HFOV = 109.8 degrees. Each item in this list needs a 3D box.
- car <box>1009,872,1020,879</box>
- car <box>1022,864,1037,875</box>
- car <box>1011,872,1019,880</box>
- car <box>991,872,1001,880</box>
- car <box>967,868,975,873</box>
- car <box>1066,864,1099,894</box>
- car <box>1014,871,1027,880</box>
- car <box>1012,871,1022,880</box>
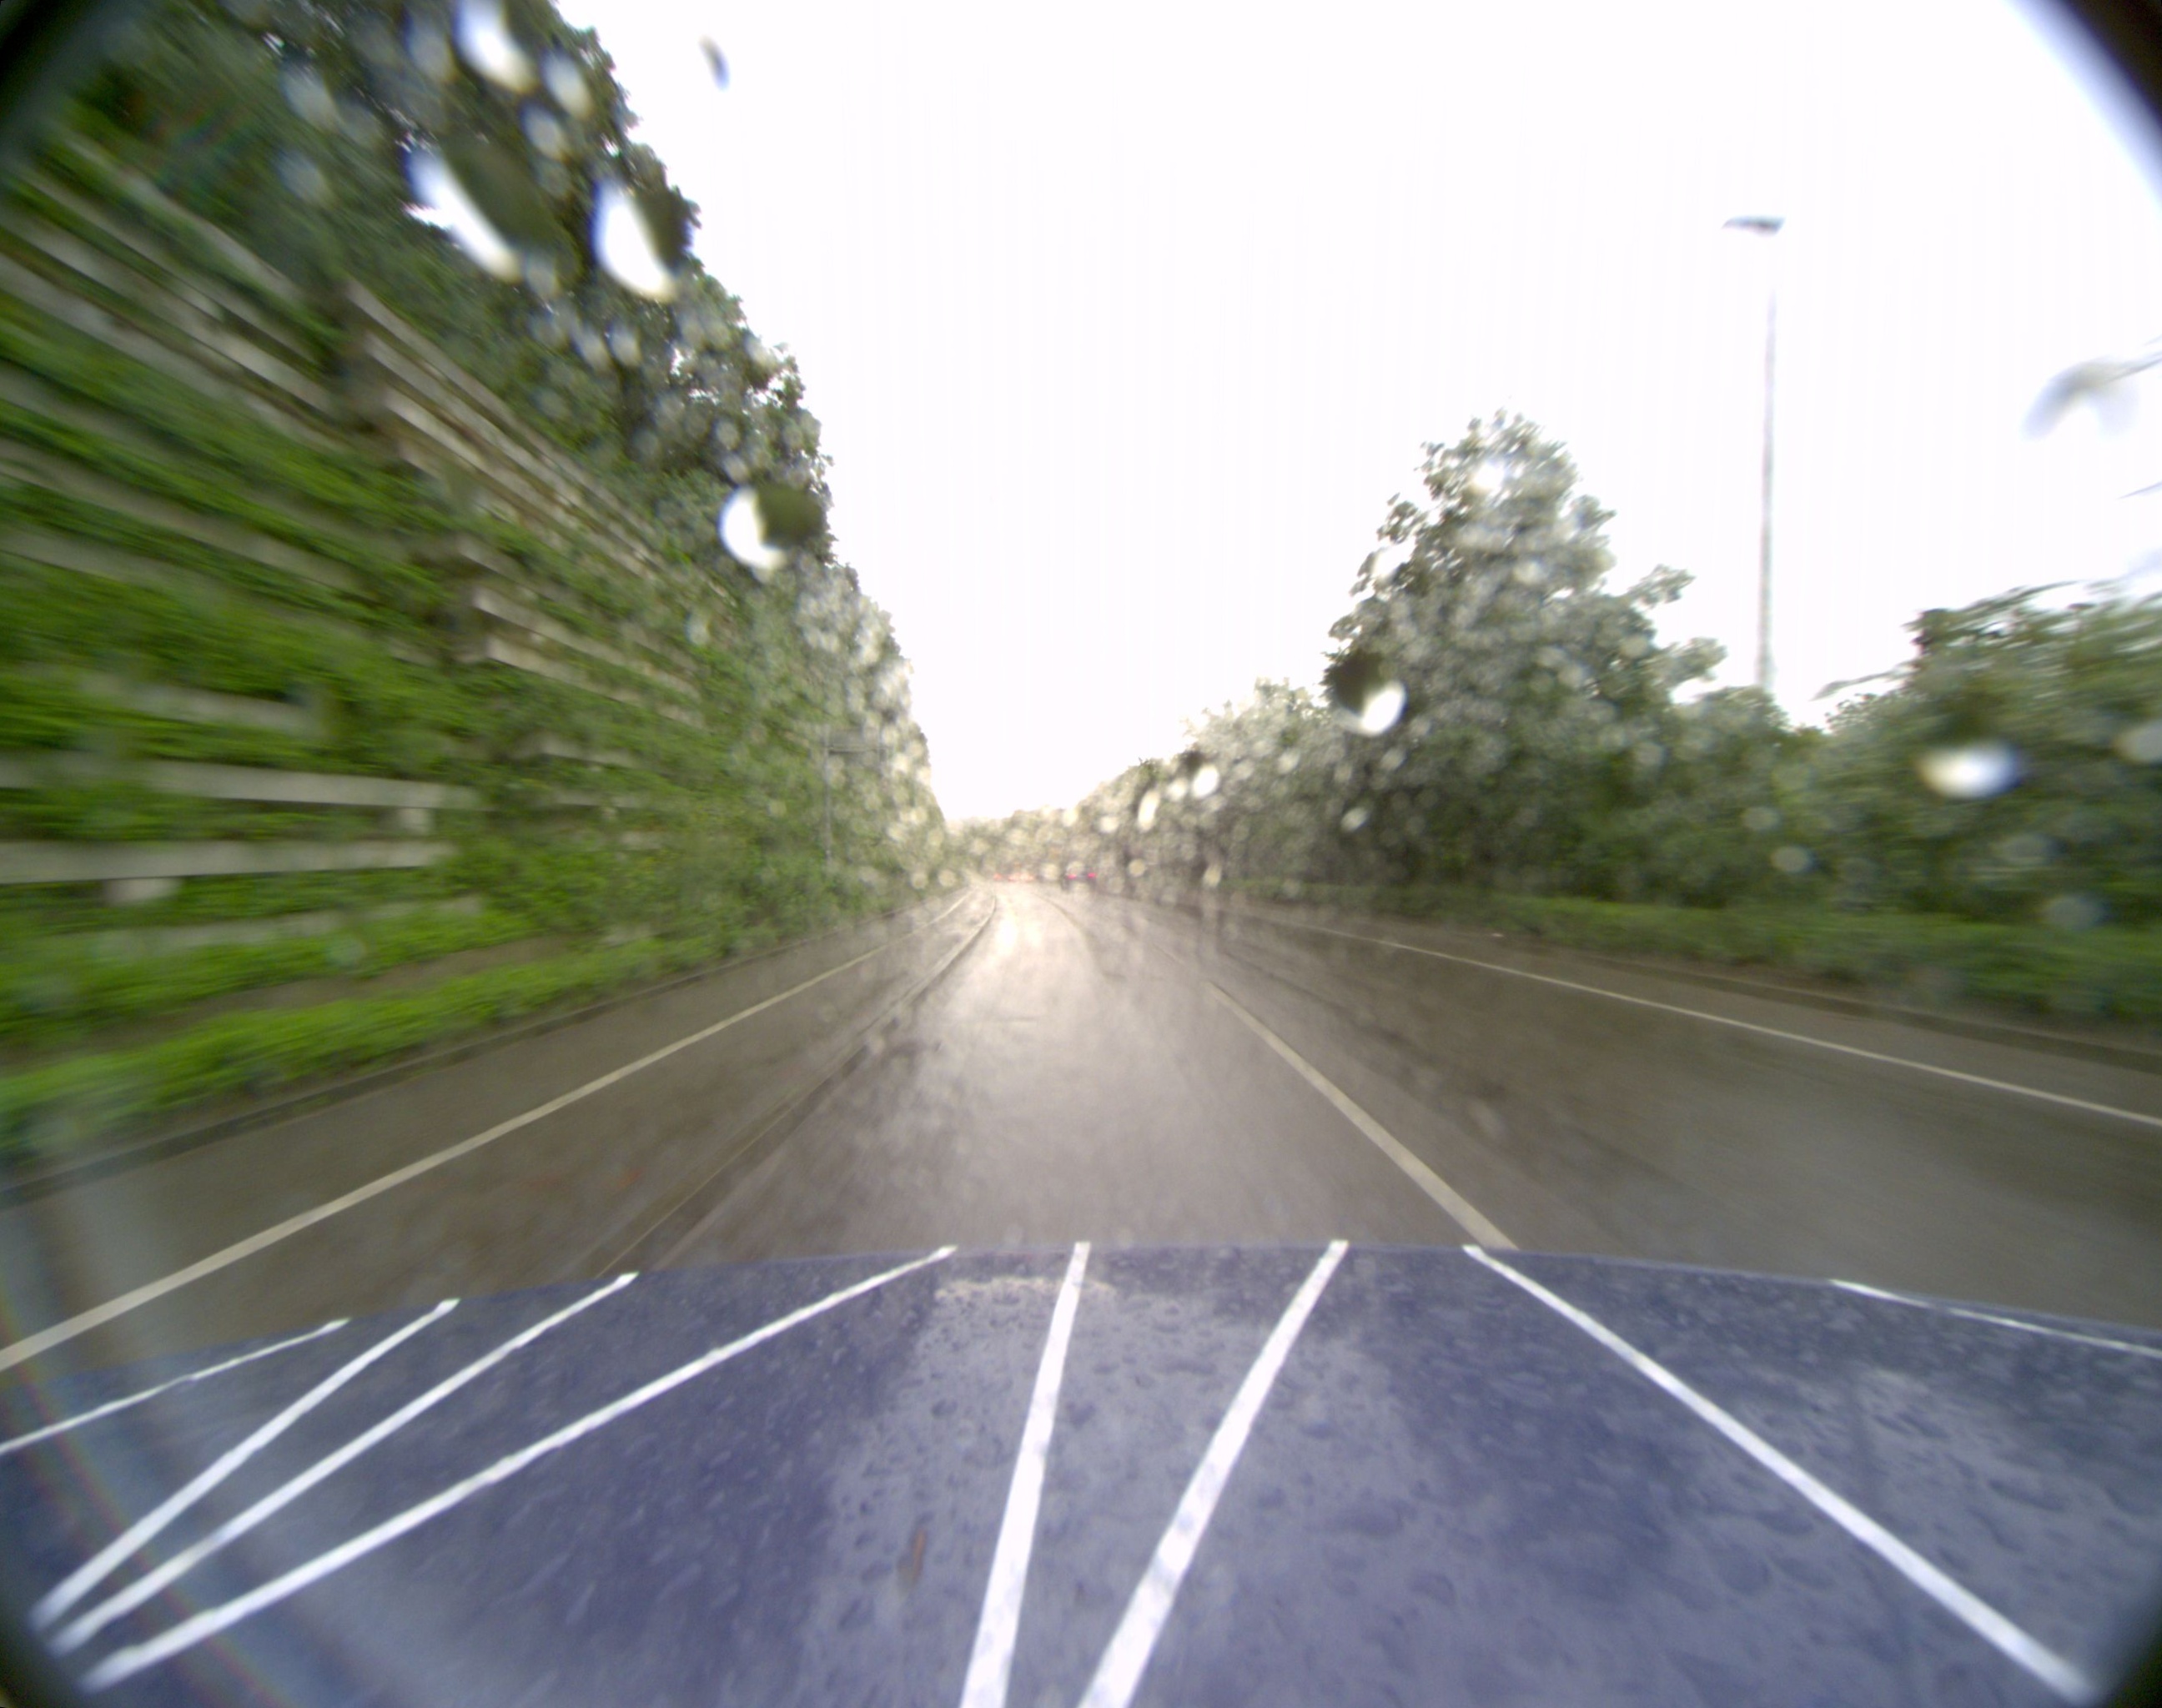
[{"bbox_3d":[-14.616,4.707,166.120,2.000,1.517,3.996,-2,0,-11],"label":"car"},{"bbox_3d":[-7.535,2.301,110.326,1.800,1.401,3.997,-2,1,-8],"label":"car"},{"bbox_3d":[-17.081,5.643,196.239,2.000,2.002,3.998,-2,0,-7],"label":"car"},{"bbox_3d":[-20.668,5.291,184.839,1.799,1.832,4.000,-2,0,0],"label":"car"},{"bbox_3d":[-34.941,5.248,242.178,1.801,1.401,3.994,-3,0,-17],"label":"car"},{"bbox_3d":[0.063,1.437,44.914,1.802,1.626,3.999,0,0,-2],"label":"car"},{"bbox_3d":[-11.949,4.213,149.027,2.000,1.517,3.996,-2,0,-11],"label":"car"},{"bbox_3d":[-15.965,5.344,189.182,1.998,2.002,4.000,-2,0,1],"label":"car"}]
